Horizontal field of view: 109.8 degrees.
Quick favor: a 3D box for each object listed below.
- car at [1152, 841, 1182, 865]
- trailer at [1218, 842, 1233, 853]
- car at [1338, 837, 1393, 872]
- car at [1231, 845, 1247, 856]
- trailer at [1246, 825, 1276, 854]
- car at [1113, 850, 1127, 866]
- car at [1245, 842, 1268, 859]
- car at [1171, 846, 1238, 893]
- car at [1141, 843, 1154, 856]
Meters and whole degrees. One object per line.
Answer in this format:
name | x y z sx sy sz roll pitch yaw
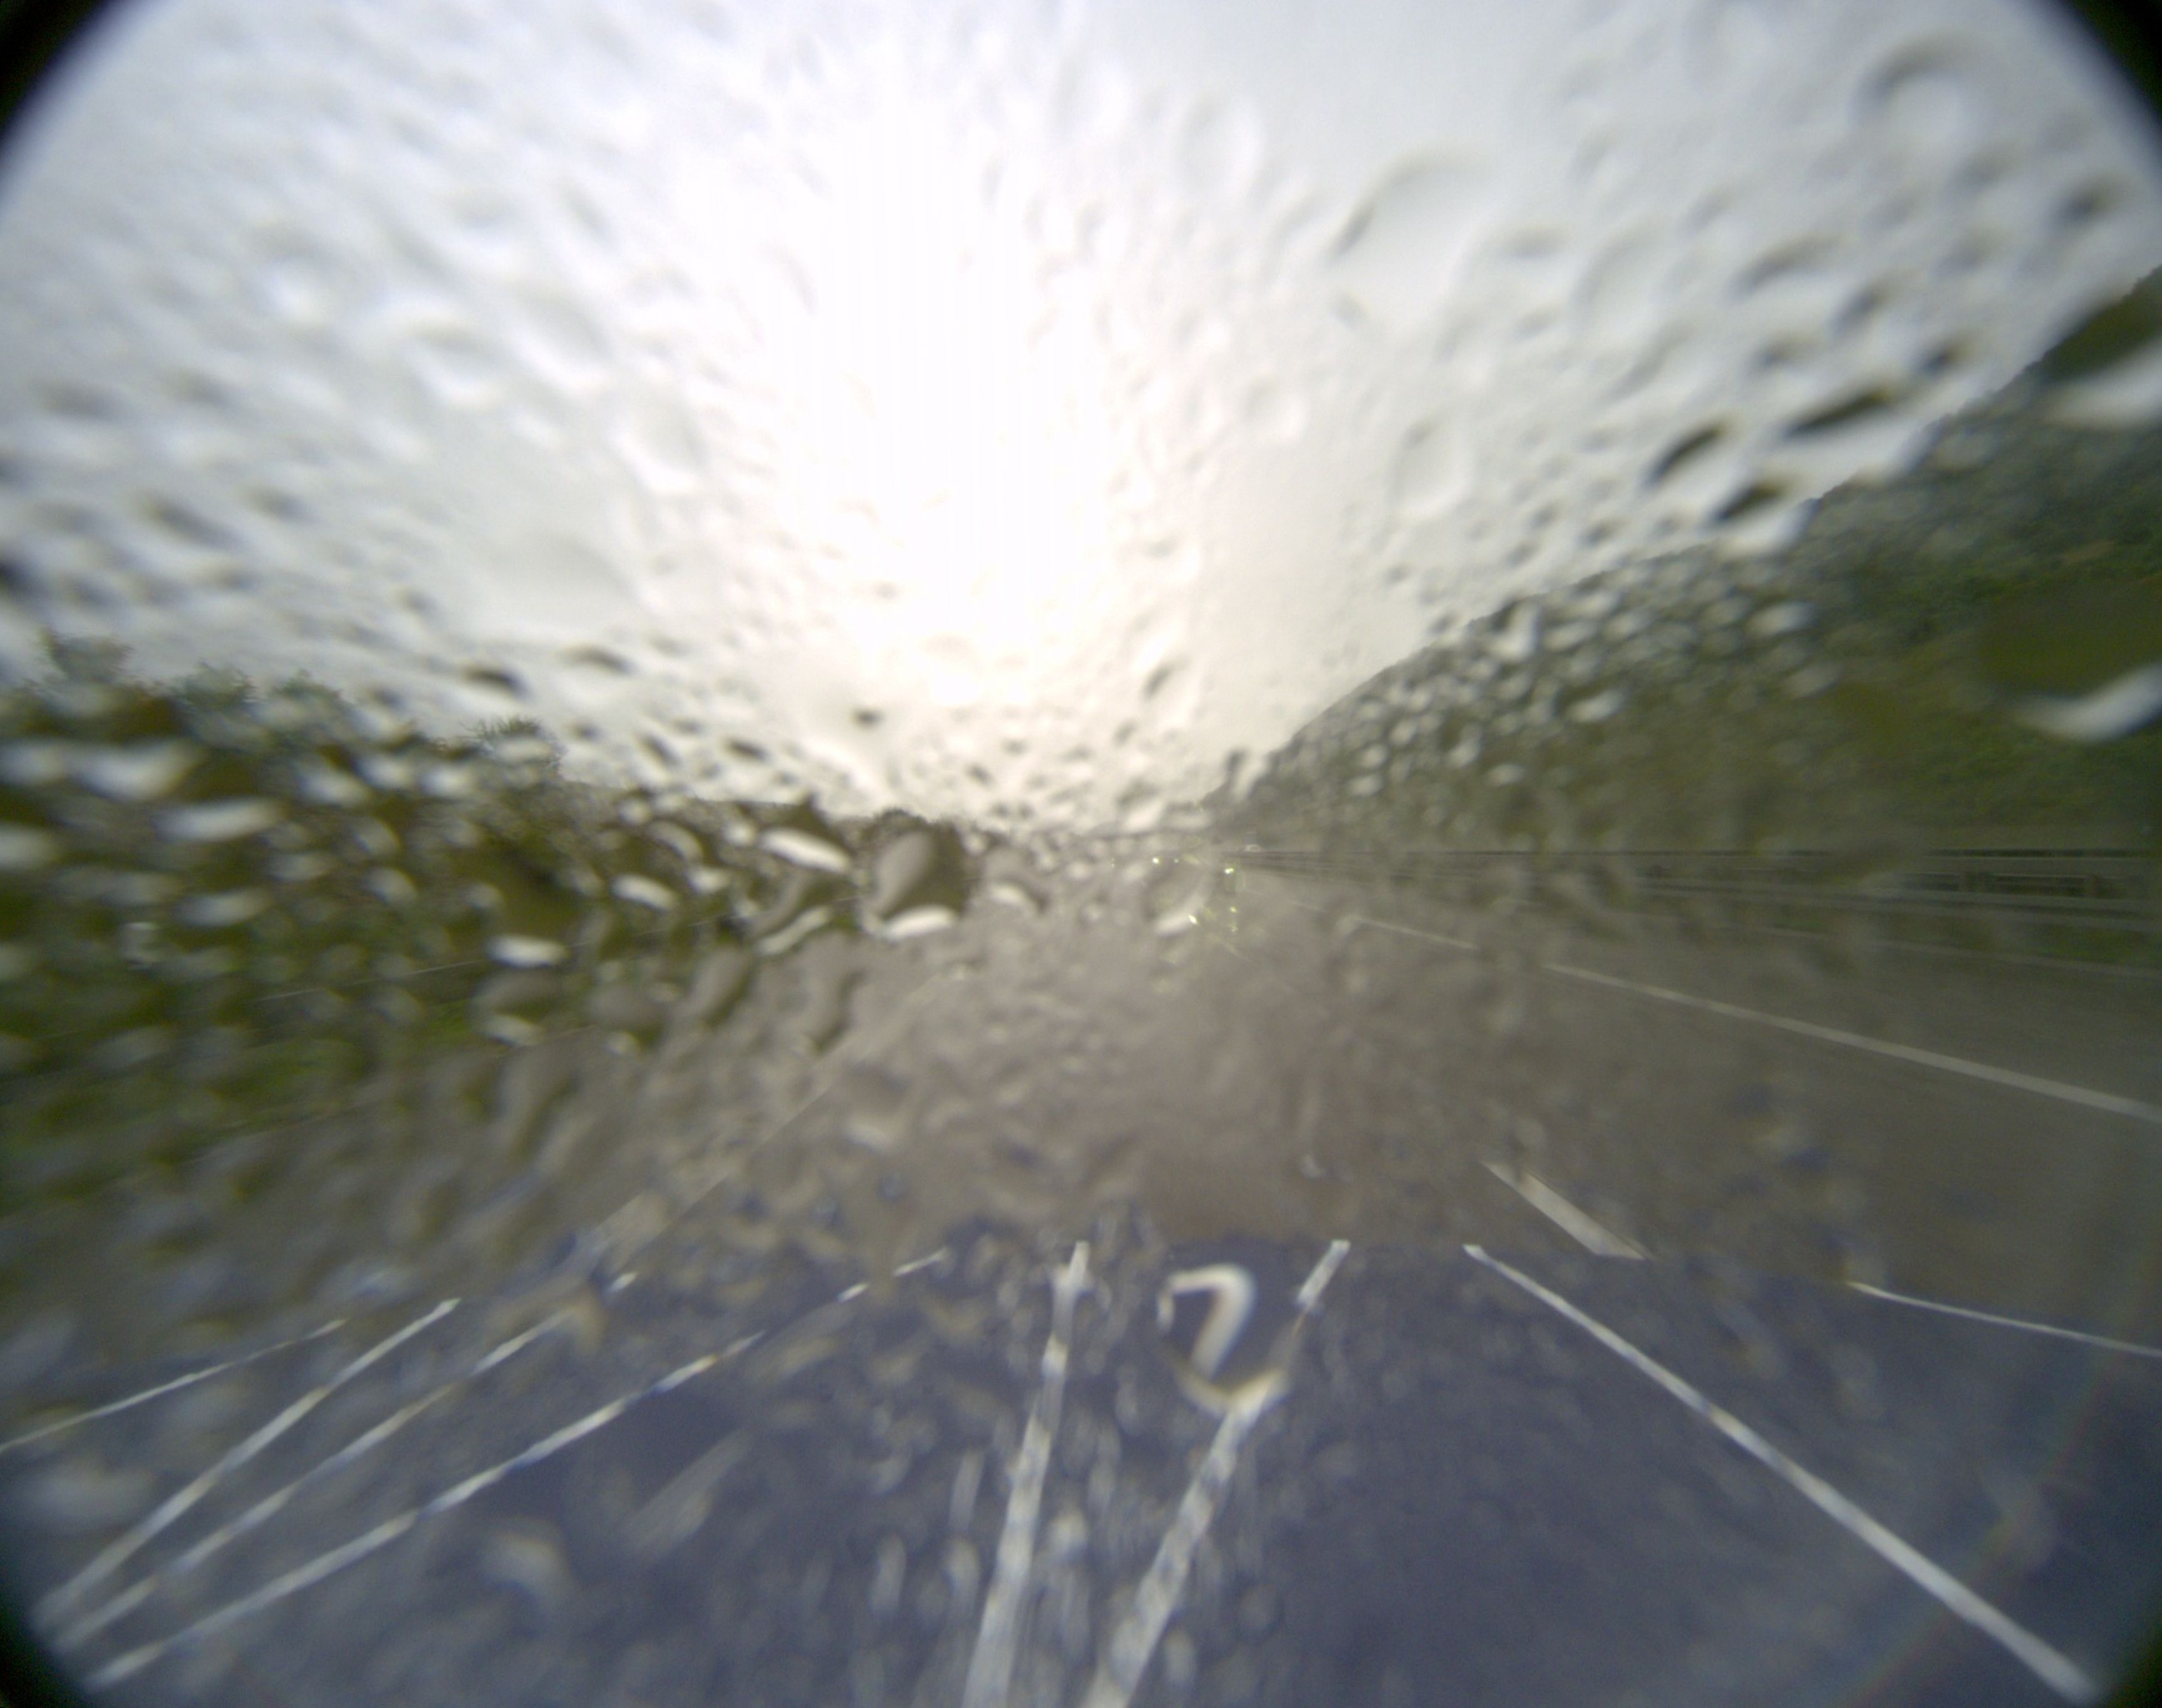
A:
car | 6.629 -0.095 58.773 1.814 1.692 3.748 -2 1 0
trailer | 42.679 -1.997 224.896 2.819 3.035 14.905 -2 0 6
car | 17.233 0.028 46.200 1.798 2.002 4.000 -2 0 1
car | 27.300 -0.585 131.387 1.998 1.735 4.659 -2 0 3
trailer | 32.184 -2.536 136.388 2.742 4.758 14.045 -2 0 4
car | 5.479 0.565 108.434 1.835 2.002 3.938 -3 1 2
car | 21.787 -0.481 94.469 1.998 2.002 5.392 -2 0 6
car | 4.719 0.529 29.712 1.998 1.673 4.909 -1 1 2
car | 11.040 -0.798 125.852 1.998 2.002 4.001 -2 1 3
